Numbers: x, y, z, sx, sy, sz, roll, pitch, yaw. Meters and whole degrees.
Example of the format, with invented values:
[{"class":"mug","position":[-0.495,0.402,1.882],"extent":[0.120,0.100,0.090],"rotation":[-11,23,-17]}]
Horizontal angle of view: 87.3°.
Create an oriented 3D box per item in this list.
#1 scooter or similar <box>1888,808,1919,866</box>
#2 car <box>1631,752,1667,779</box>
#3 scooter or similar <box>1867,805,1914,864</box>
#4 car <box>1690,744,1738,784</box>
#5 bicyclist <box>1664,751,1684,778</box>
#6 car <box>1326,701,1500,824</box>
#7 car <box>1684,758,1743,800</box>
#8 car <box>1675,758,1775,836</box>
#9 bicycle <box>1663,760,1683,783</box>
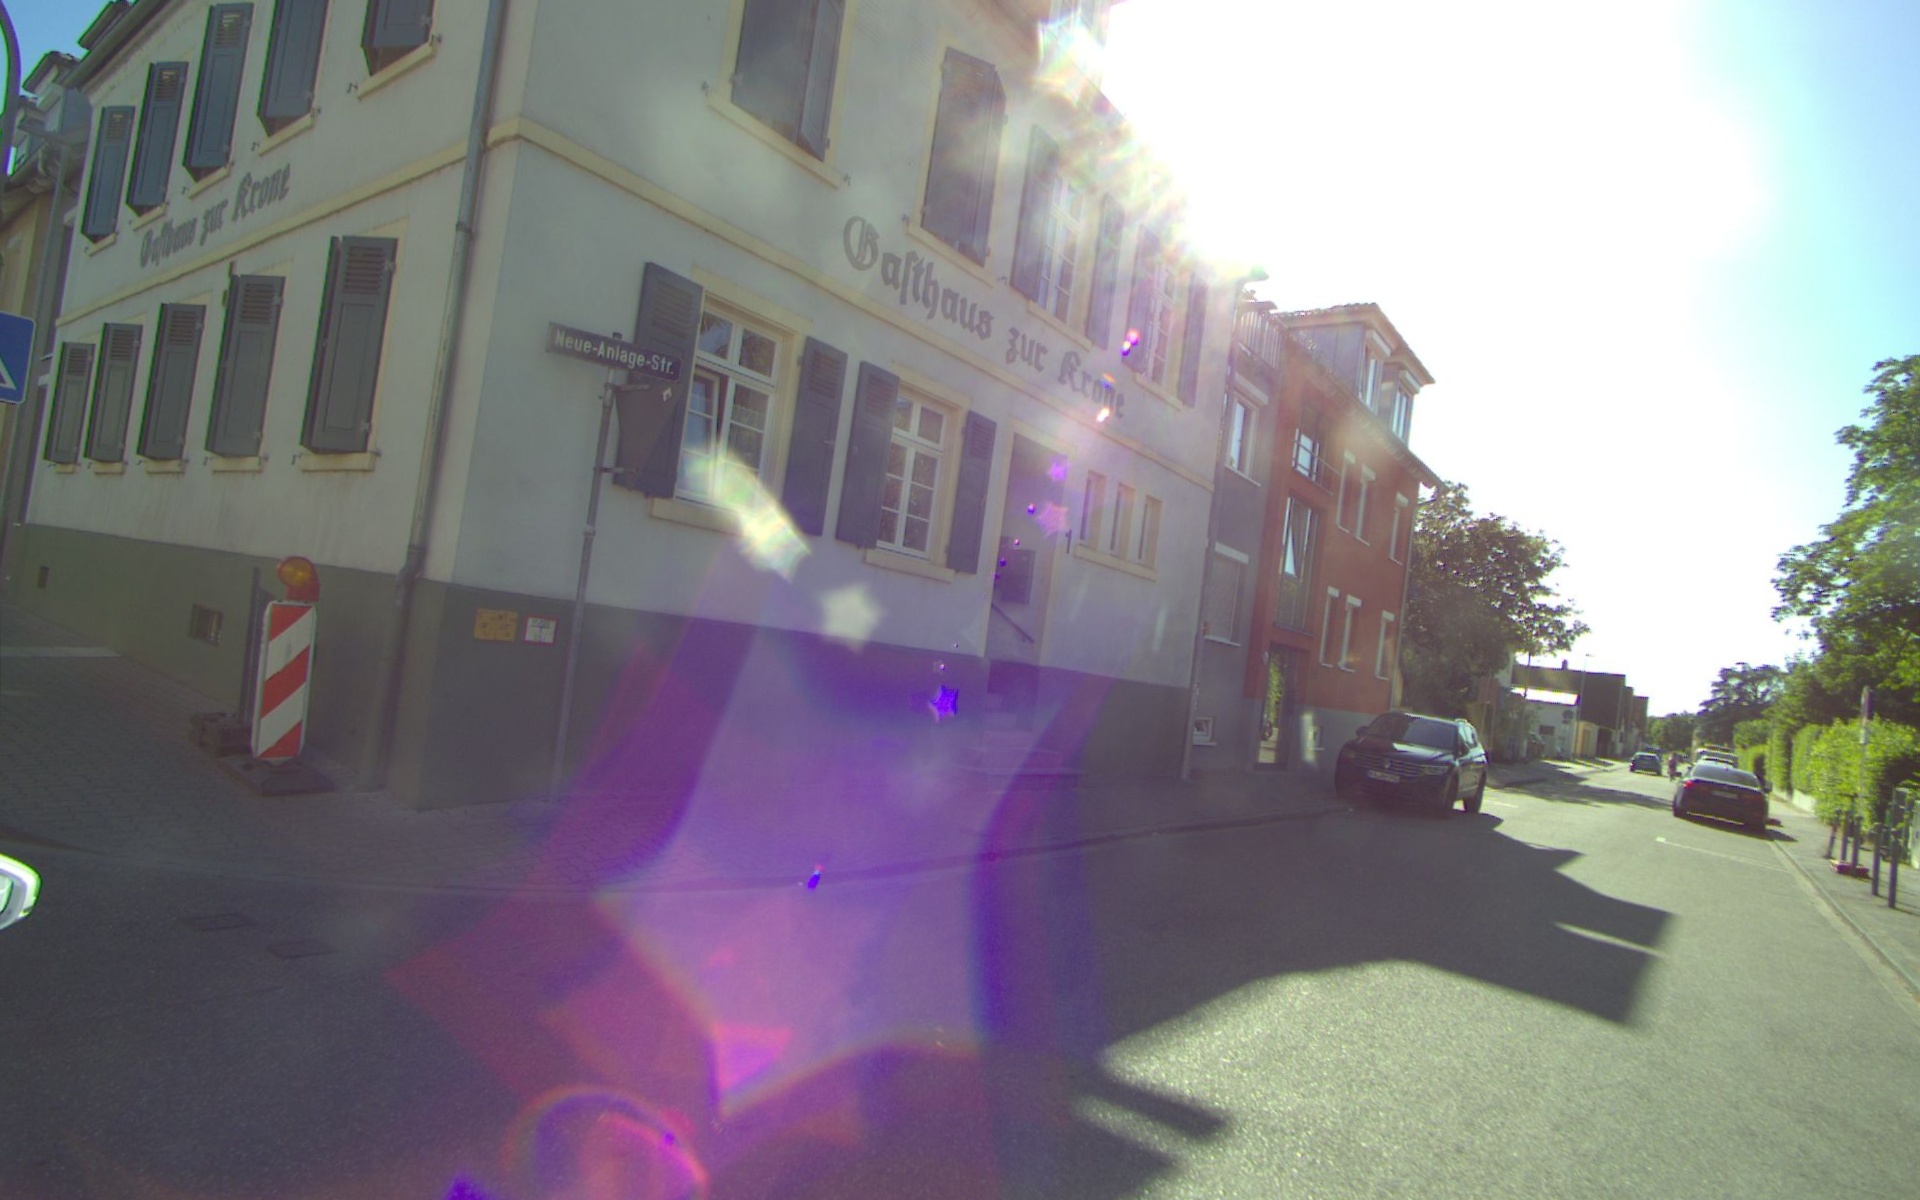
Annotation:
[{"class":"scooter or similar","position":[19.045,4.751,20.142],"extent":[0.499,1.054,1.638],"rotation":[5,-6,39]},{"class":"car","position":[44.997,10.775,65.656],"extent":[1.765,1.373,4.127],"rotation":[7,-3,36]},{"class":"scooter or similar","position":[18.935,4.766,20.484],"extent":[0.499,1.054,1.638],"rotation":[5,-6,39]},{"class":"car","position":[40.831,8.855,54.546],"extent":[1.765,1.757,4.127],"rotation":[8,-2,36]},{"class":"bicyclist","position":[38.086,8.786,53.649],"extent":[0.711,1.282,0.834],"rotation":[8,-1,36]},{"class":"car","position":[8.118,2.828,17.800],"extent":[1.927,1.702,4.267],"rotation":[3,-5,36]},{"class":"car","position":[31.851,7.540,42.607],"extent":[1.765,1.373,4.127],"rotation":[7,-3,36]},{"class":"car","position":[19.577,4.991,25.886],"extent":[1.765,1.491,4.127],"rotation":[7,-3,36]},{"class":"bicycle","position":[38.064,9.146,53.708],"extent":[0.711,1.061,2.218],"rotation":[8,-2,36]}]
